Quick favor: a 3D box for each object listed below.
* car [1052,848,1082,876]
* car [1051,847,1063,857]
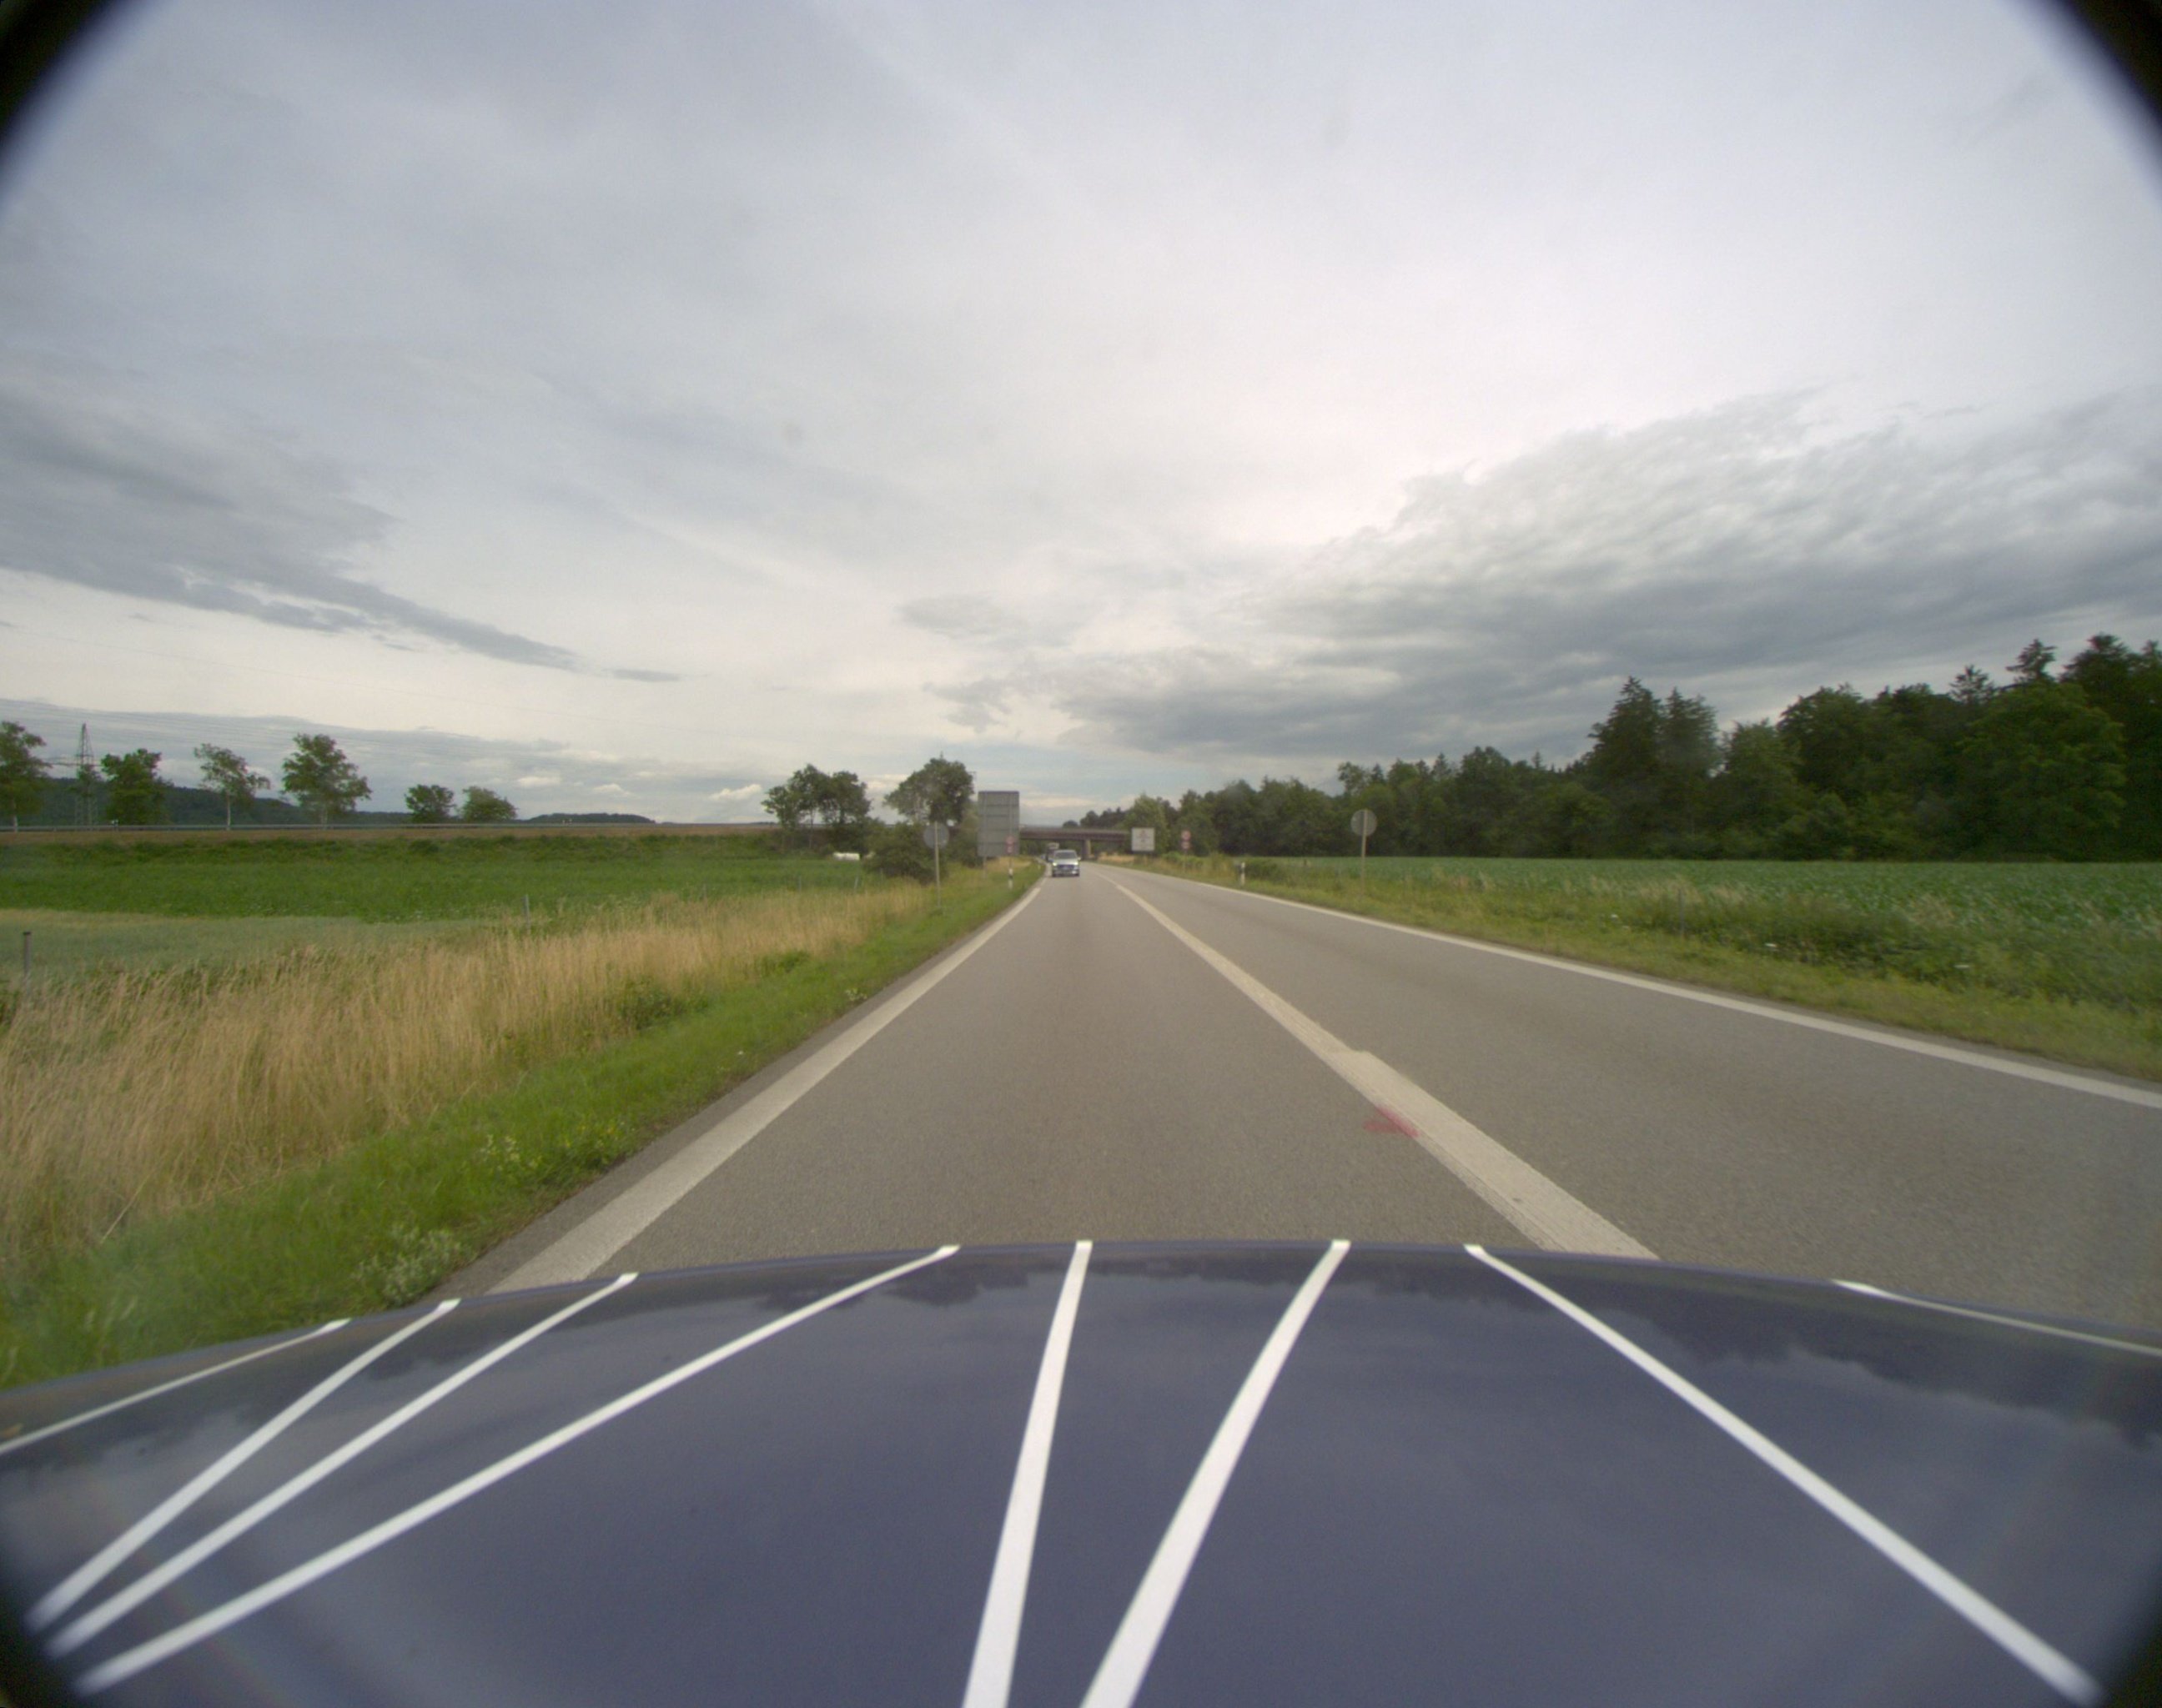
[{"bbox_3d":[-1.032,0.523,54.093,1.924,1.823,3.998,-2,1,-3],"label":"car"},{"bbox_3d":[-5.071,-0.505,162.859,1.997,2.002,4.001,-2,1,6],"label":"car"}]
